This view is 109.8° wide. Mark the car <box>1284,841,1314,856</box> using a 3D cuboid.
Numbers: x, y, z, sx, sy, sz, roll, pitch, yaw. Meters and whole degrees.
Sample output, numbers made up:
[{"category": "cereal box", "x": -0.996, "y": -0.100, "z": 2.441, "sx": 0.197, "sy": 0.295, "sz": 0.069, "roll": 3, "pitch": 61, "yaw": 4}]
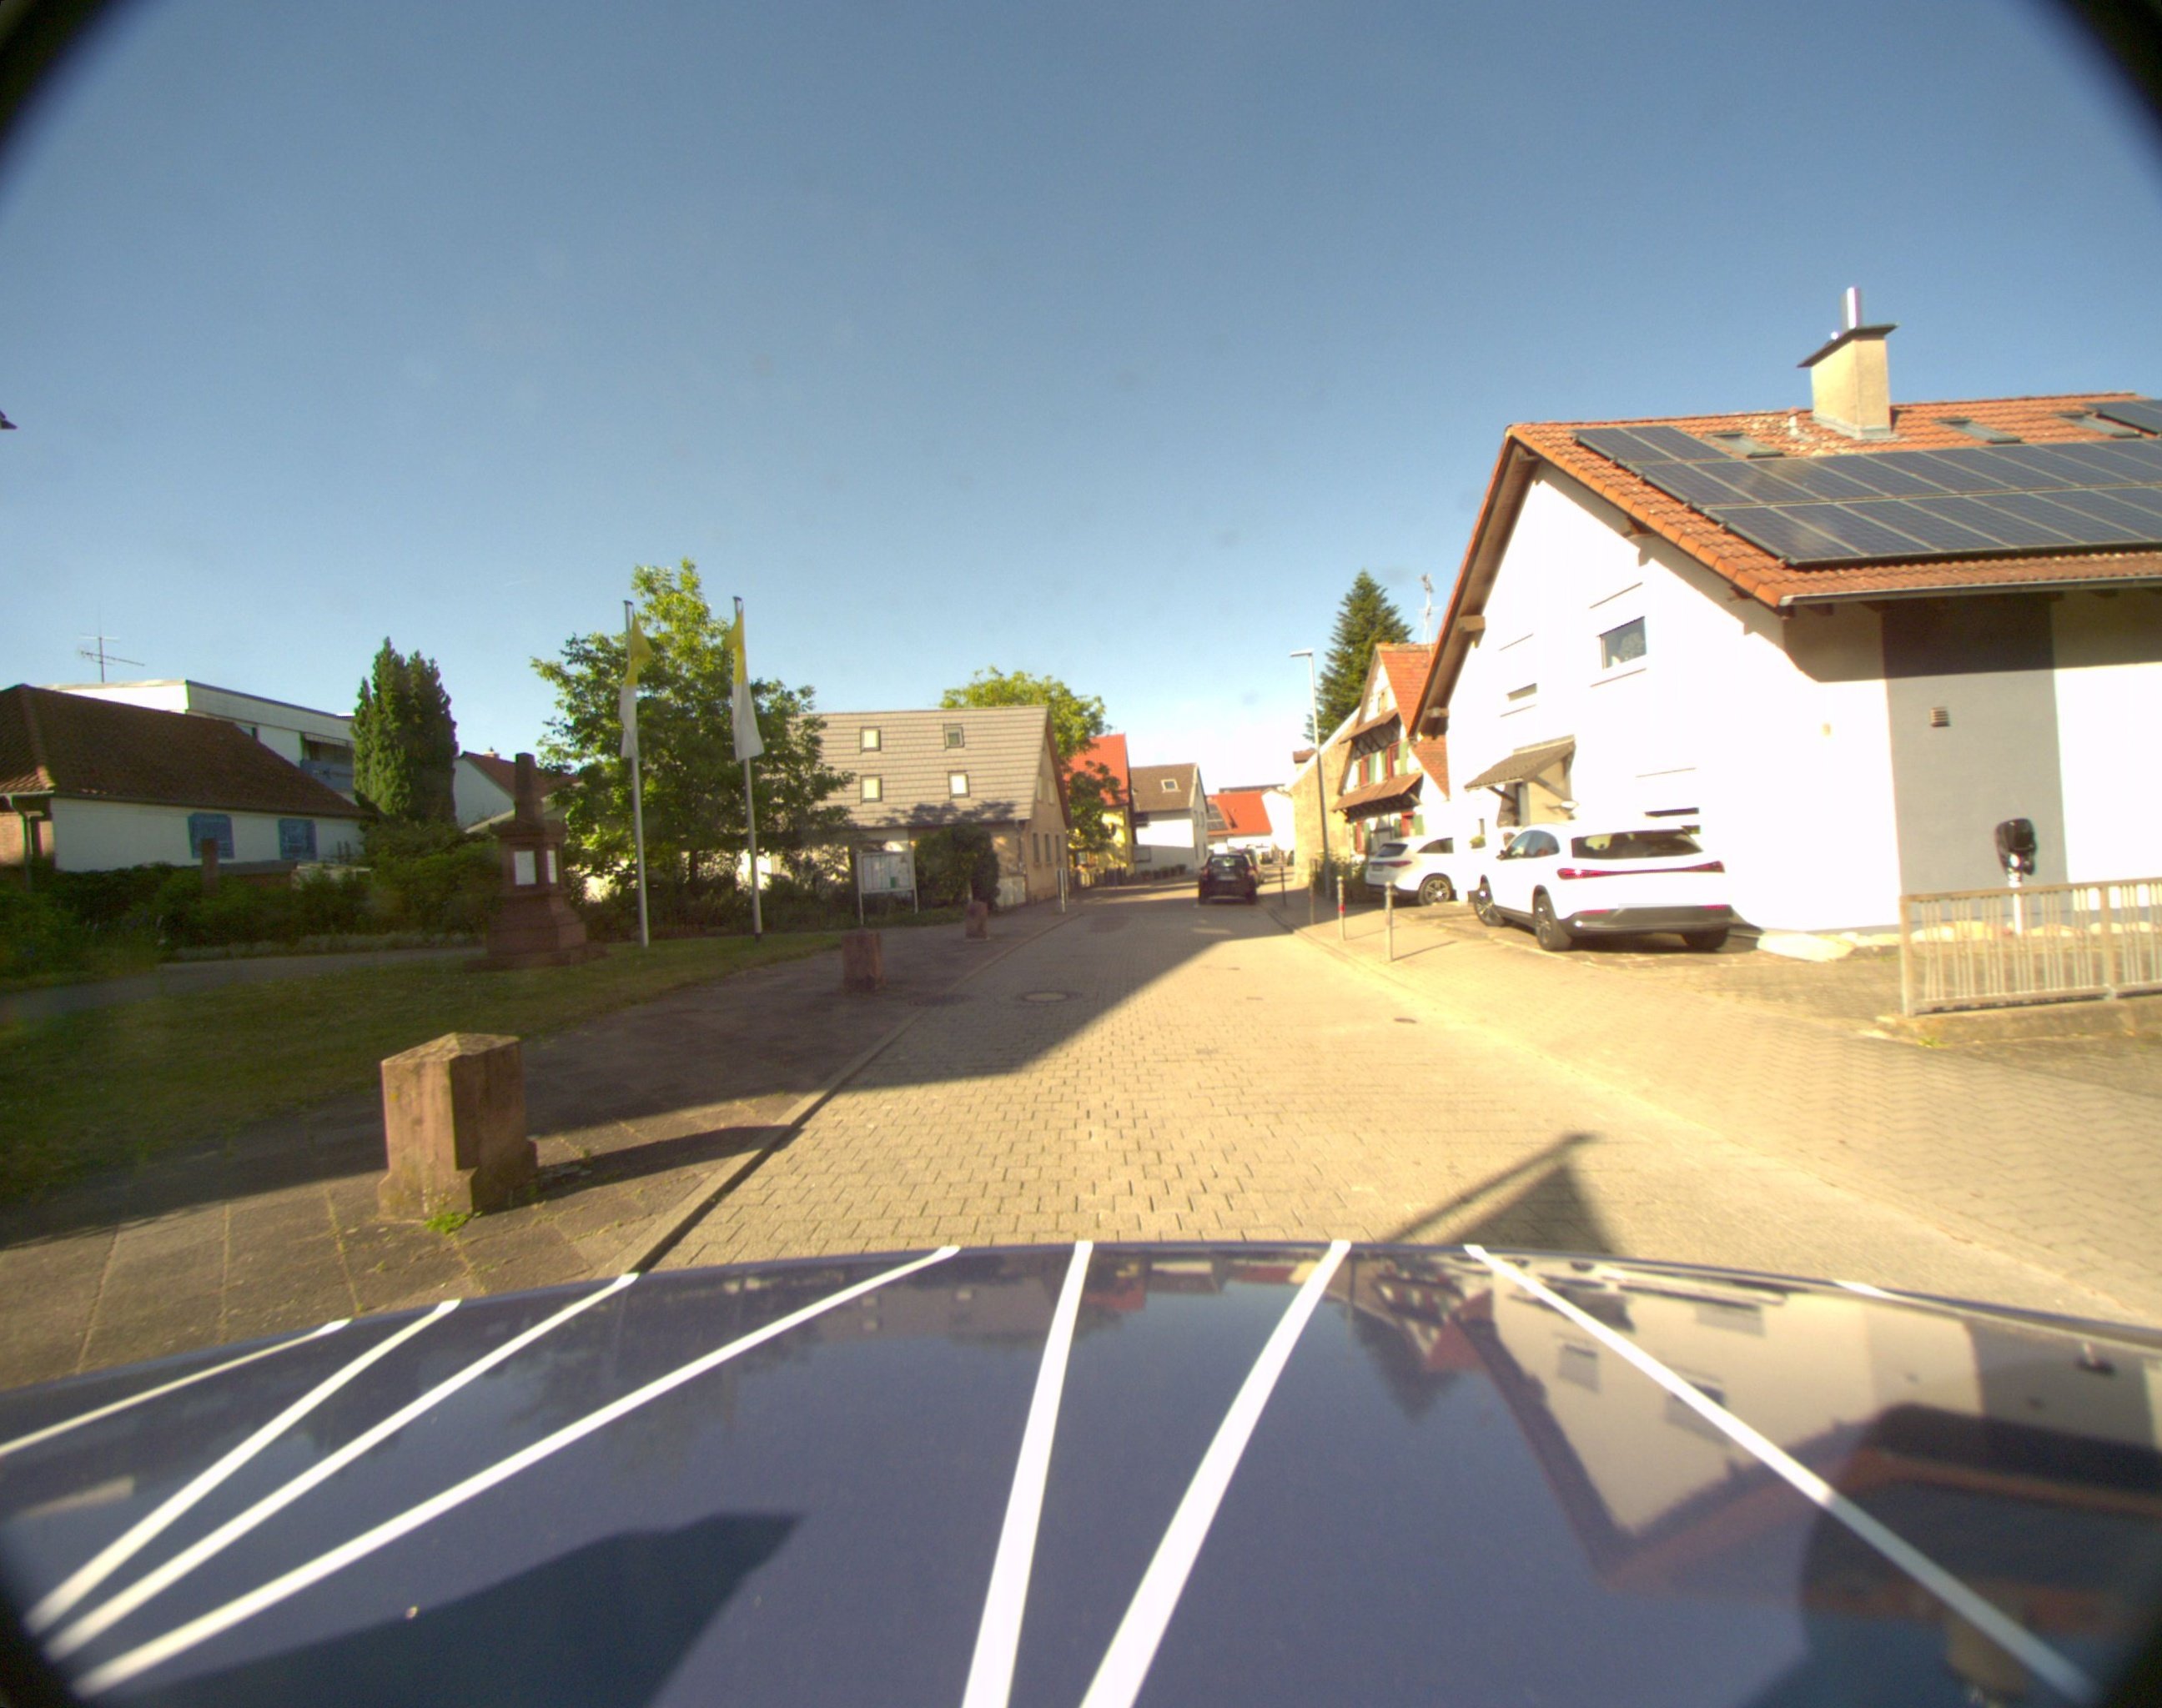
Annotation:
[{"category": "car", "x": 32.212, "y": -0.742, "z": 112.409, "sx": 3.991, "sy": 2.001, "sz": 1.844, "roll": -3, "pitch": 0, "yaw": 21}]

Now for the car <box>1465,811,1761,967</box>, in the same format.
[{"category": "car", "x": 6.863, "y": 0.367, "z": 10.467, "sx": 1.820, "sy": 1.586, "sz": 4.450, "roll": -5, "pitch": 0, "yaw": 15}]

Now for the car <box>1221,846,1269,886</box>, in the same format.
[{"category": "car", "x": 7.828, "y": 0.527, "z": 35.954, "sx": 1.834, "sy": 1.779, "sz": 4.358, "roll": -1, "pitch": 0, "yaw": 17}]

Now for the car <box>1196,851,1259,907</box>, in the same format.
[{"category": "car", "x": 4.828, "y": 0.752, "z": 25.111, "sx": 1.835, "sy": 1.661, "sz": 4.356, "roll": -1, "pitch": 0, "yaw": 11}]

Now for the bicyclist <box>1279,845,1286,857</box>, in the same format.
[{"category": "bicyclist", "x": 22.571, "y": -0.366, "z": 84.959, "sx": 0.581, "sy": 1.312, "sz": 0.609, "roll": -2, "pitch": 0, "yaw": 31}]

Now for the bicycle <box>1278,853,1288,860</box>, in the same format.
[{"category": "bicycle", "x": 22.617, "y": 0.246, "z": 84.958, "sx": 0.581, "sy": 0.757, "sz": 1.803, "roll": -2, "pitch": 0, "yaw": 31}]

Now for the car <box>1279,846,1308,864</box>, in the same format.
[{"category": "car", "x": 20.800, "y": 0.086, "z": 74.279, "sx": 1.890, "sy": 1.581, "sz": 4.007, "roll": -2, "pitch": 0, "yaw": 27}]

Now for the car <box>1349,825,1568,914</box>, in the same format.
[{"category": "car", "x": 8.683, "y": 0.350, "z": 17.733, "sx": 3.998, "sy": 1.579, "sz": 2.000, "roll": -5, "pitch": 0, "yaw": -3}]

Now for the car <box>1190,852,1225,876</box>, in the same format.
[{"category": "car", "x": 9.161, "y": 0.697, "z": 54.772, "sx": 1.805, "sy": 1.469, "sz": 4.349, "roll": -2, "pitch": 1, "yaw": 18}]
